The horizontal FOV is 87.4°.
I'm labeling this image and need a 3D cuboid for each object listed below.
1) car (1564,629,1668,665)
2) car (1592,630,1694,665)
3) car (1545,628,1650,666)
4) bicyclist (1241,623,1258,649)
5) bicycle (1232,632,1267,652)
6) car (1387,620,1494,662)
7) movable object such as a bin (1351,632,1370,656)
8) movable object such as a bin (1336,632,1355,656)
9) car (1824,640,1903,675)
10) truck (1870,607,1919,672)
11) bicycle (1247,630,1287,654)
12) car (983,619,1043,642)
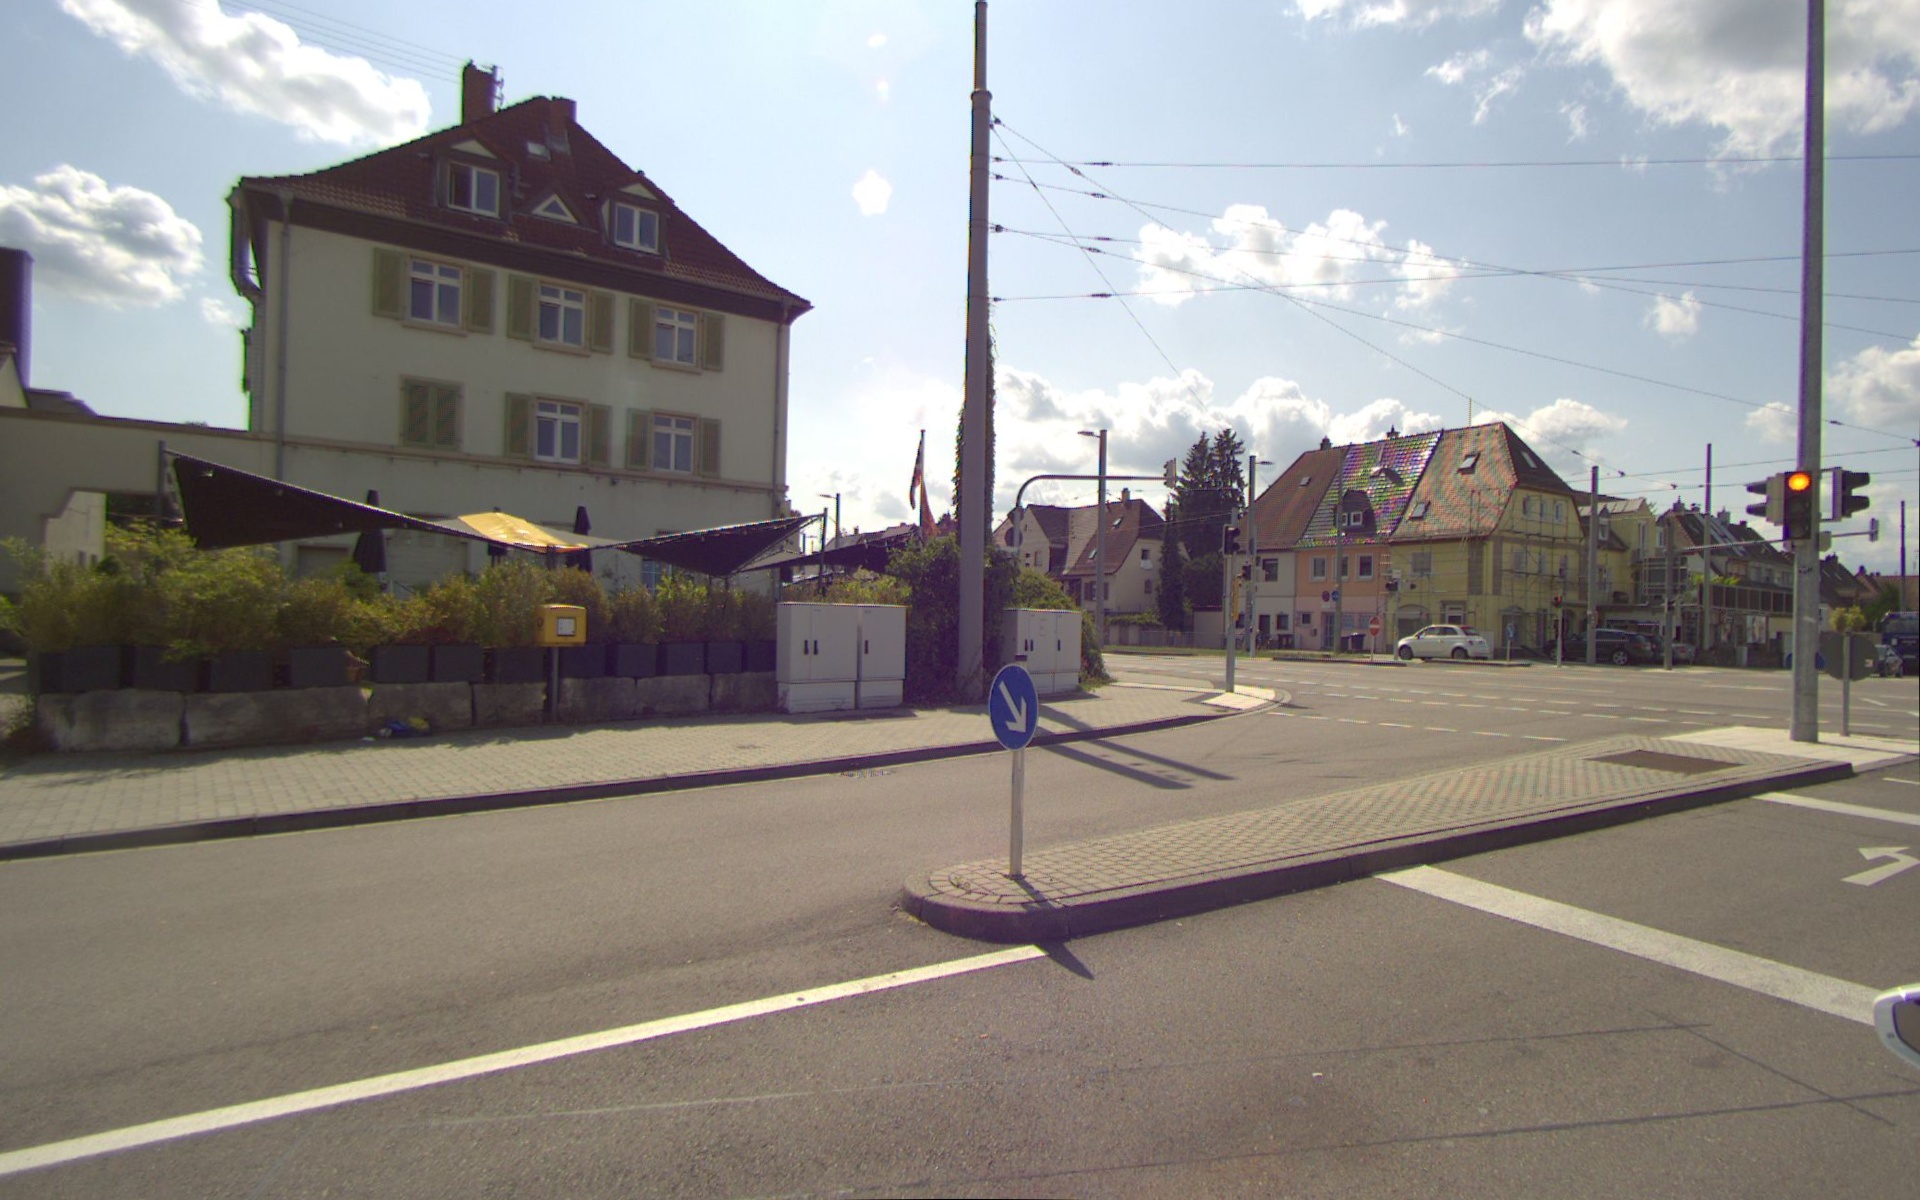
[{"bbox_3d":[32.788,2.314,50.295,1.493,1.513,4.103,2,0,-37],"label":"car"},{"bbox_3d":[35.077,2.426,51.688,1.422,1.513,4.103,2,0,-37],"label":"car"},{"bbox_3d":[30.729,2.246,48.555,1.168,1.513,4.103,2,0,-37],"label":"car"},{"bbox_3d":[16.361,2.041,56.767,0.571,1.416,0.718,1,-1,-33],"label":"bicyclist"},{"bbox_3d":[16.352,2.350,56.782,0.687,1.092,1.888,1,-1,-33],"label":"bicycle"},{"bbox_3d":[19.189,1.609,40.217,1.569,1.528,3.517,2,0,-34],"label":"car"},{"bbox_3d":[22.009,2.412,55.149,0.674,1.277,0.677,2,0,-33],"label":"movable object such as a bin"},{"bbox_3d":[20.882,2.374,54.462,0.674,1.277,0.677,2,0,-33],"label":"movable object such as a bin"},{"bbox_3d":[41.573,2.632,46.179,4.291,1.506,1.816,3,-2,-35],"label":"car"},{"bbox_3d":[50.833,2.141,53.149,7.516,3.230,2.747,3,-2,-38],"label":"truck"},{"bbox_3d":[18.041,2.494,59.079,2.428,1.374,0.770,2,0,-29],"label":"bicycle"},{"bbox_3d":[3.386,1.962,64.623,1.902,1.372,3.965,1,-1,-32],"label":"car"}]
